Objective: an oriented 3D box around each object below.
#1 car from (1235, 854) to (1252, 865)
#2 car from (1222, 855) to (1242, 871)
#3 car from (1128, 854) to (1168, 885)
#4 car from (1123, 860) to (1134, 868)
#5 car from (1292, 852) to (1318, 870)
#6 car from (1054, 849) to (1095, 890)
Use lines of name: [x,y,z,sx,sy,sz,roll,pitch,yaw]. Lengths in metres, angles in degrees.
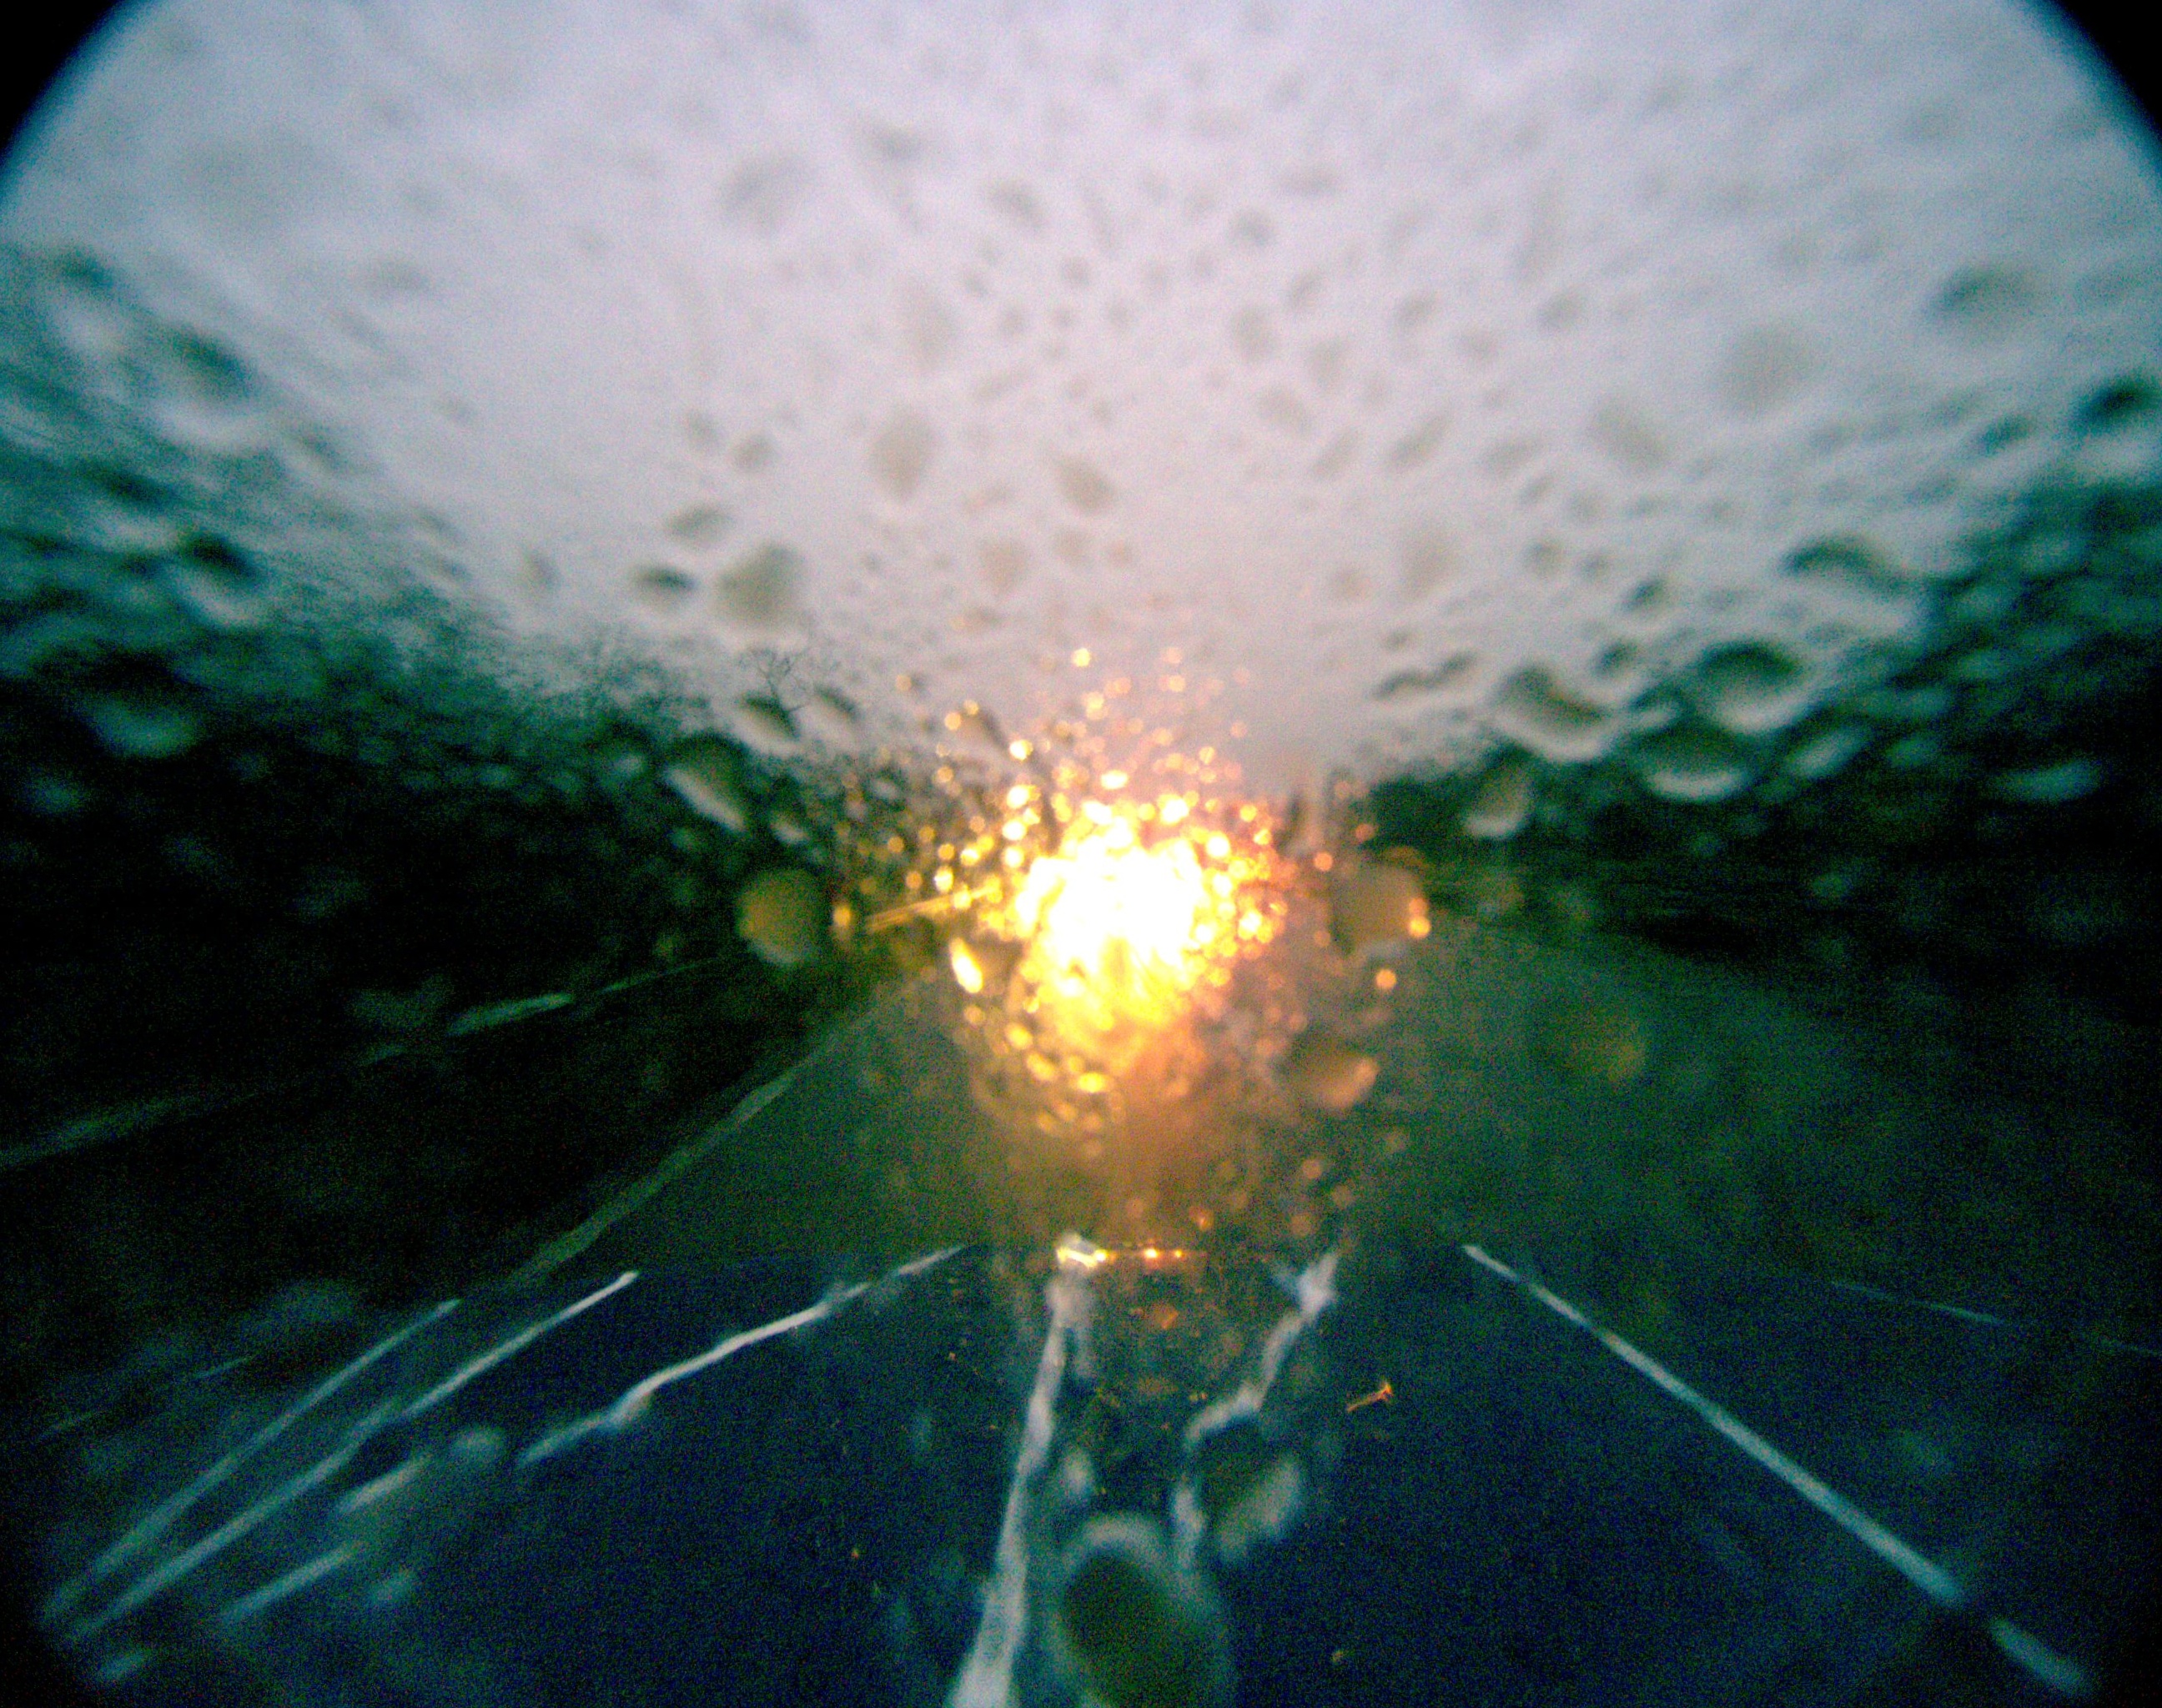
car: [23.966,0.811,111.988,1.687,1.626,4.204,0,1,2]
car: [20.043,1.166,101.028,1.998,2.002,3.999,-2,2,2]
car: [3.489,0.794,40.047,1.654,1.502,3.874,-2,0,-1]
car: [9.568,1.999,153.412,1.691,1.465,4.000,-3,-1,-1]
car: [25.806,0.850,87.607,1.998,2.001,4.001,0,0,2]
car: [-0.274,0.775,39.691,1.998,2.002,3.964,0,0,1]
